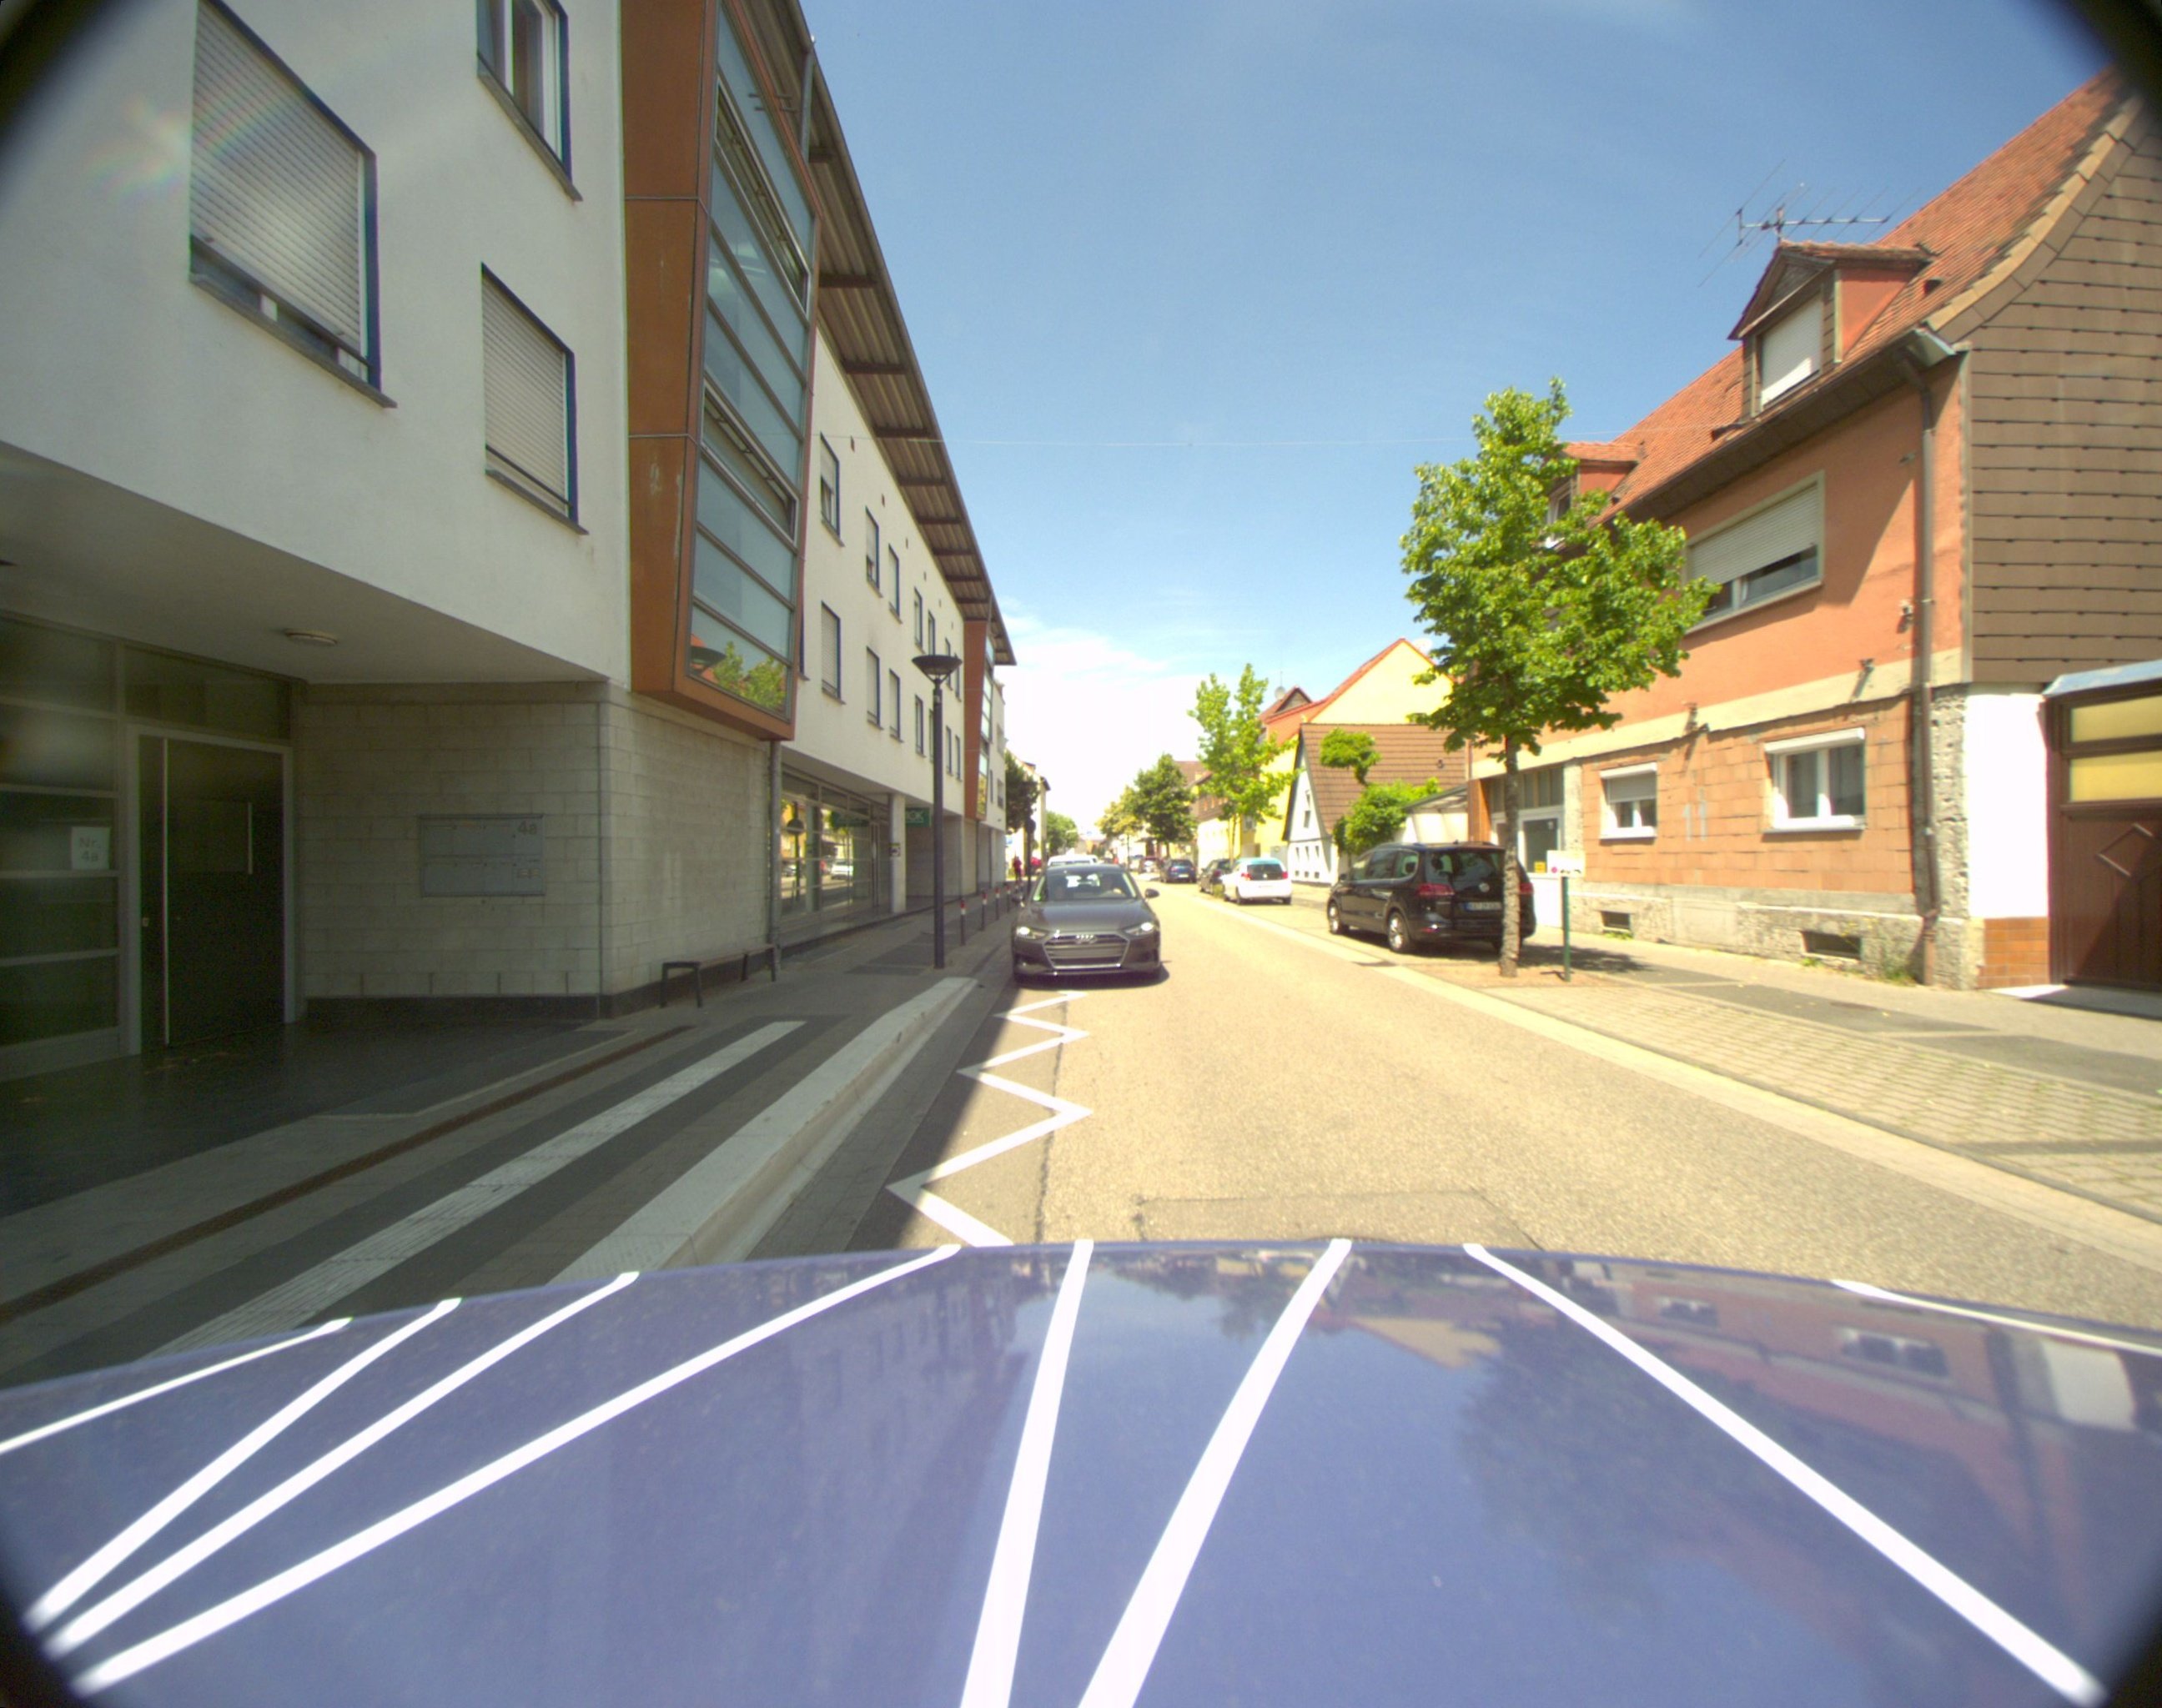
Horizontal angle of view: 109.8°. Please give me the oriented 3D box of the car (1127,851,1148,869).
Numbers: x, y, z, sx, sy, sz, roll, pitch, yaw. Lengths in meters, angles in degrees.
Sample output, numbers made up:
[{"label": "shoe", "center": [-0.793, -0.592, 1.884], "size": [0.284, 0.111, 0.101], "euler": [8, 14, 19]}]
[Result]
[{"label": "car", "center": [5.906, 0.580, 79.982], "size": [1.695, 1.742, 3.999], "euler": [-3, 0, -1]}]

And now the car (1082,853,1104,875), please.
[{"label": "car", "center": [0.849, 0.709, 56.089], "size": [1.581, 1.620, 4.065], "euler": [0, 0, 0]}]

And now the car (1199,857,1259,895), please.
[{"label": "car", "center": [5.921, 0.848, 30.882], "size": [1.649, 1.422, 4.098], "euler": [0, 0, 0]}]

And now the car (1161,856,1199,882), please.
[{"label": "car", "center": [5.634, 0.806, 43.582], "size": [1.660, 1.399, 4.158], "euler": [-1, 0, 0]}]

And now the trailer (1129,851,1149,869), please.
[{"label": "trailer", "center": [5.758, 0.597, 75.710], "size": [1.493, 1.571, 3.883], "euler": [-3, 0, -2]}]

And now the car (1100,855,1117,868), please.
[{"label": "car", "center": [3.020, 0.820, 84.504], "size": [1.693, 1.464, 4.000], "euler": [1, 0, 0]}]

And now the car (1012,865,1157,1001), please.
[{"label": "car", "center": [0.038, 0.911, 10.504], "size": [1.581, 1.424, 4.065], "euler": [-1, 0, 0]}]

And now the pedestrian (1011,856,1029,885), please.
[{"label": "pedestrian", "center": [-3.389, 0.904, 42.191], "size": [0.825, 1.579, 0.919], "euler": [2, 1, 1]}]

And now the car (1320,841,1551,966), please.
[{"label": "car", "center": [5.656, 0.690, 12.863], "size": [1.780, 1.716, 4.519], "euler": [-1, 0, 0]}]

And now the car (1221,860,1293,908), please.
[{"label": "car", "center": [5.610, 0.906, 24.584], "size": [1.557, 1.422, 3.410], "euler": [0, 0, 0]}]

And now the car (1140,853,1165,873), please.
[{"label": "car", "center": [5.897, 0.691, 63.147], "size": [1.753, 1.566, 4.158], "euler": [-1, 0, 0]}]

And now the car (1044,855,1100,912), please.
[{"label": "car", "center": [-0.267, 0.840, 23.648], "size": [1.581, 1.620, 4.065], "euler": [0, 0, 0]}]

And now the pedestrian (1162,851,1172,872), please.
[{"label": "pedestrian", "center": [6.778, 0.580, 59.718], "size": [0.663, 1.592, 0.771], "euler": [-1, 1, 1]}]

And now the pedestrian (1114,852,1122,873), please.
[{"label": "pedestrian", "center": [2.910, 0.669, 59.623], "size": [0.643, 1.645, 0.624], "euler": [0, 1, 0]}]

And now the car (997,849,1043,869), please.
[{"label": "car", "center": [-5.793, 0.478, 72.192], "size": [4.204, 1.849, 2.000], "euler": [0, 0, 0]}]
